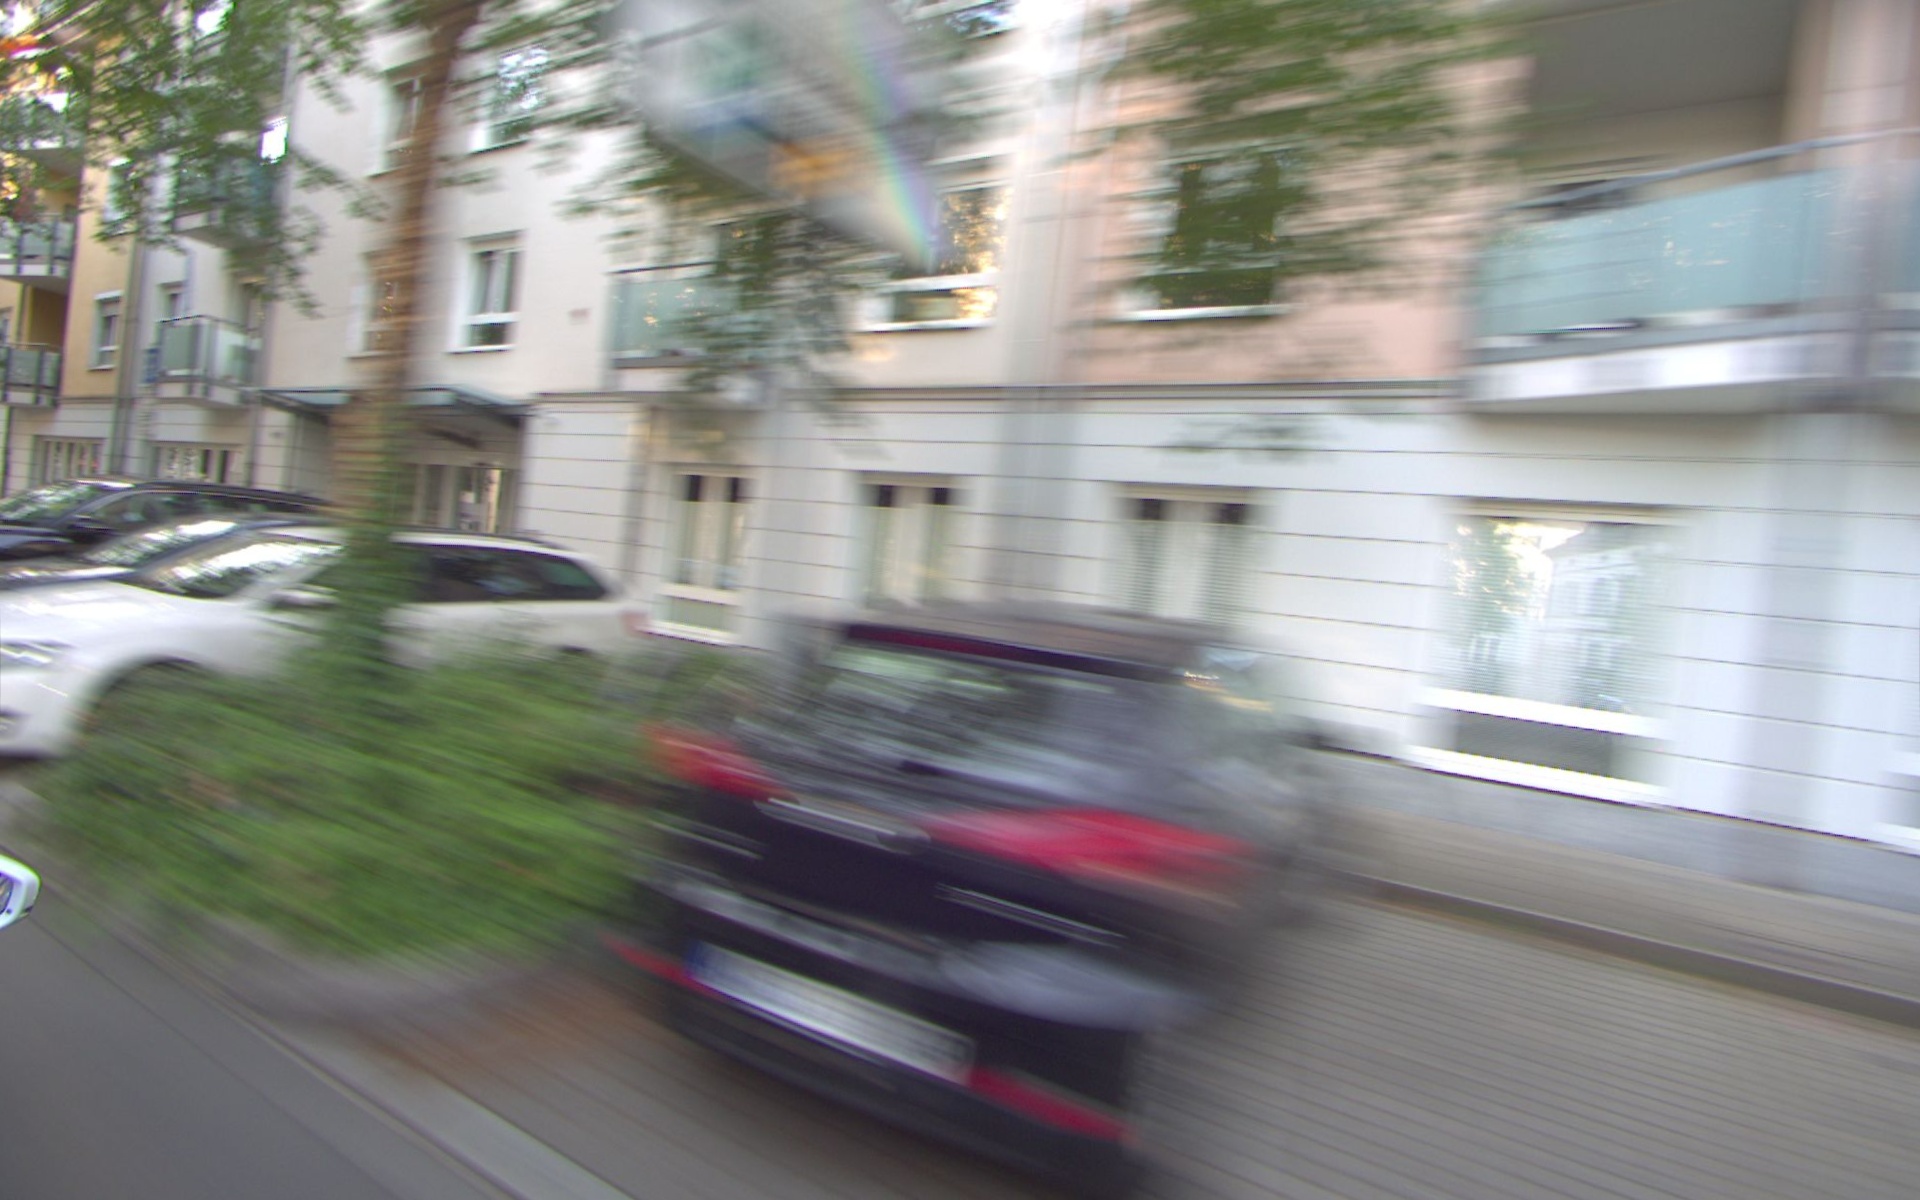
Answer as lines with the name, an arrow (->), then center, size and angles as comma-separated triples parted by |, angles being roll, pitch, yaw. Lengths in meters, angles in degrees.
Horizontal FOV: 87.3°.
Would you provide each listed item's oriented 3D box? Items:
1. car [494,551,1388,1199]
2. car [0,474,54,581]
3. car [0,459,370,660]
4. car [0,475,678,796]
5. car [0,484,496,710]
car -> 0.487, 0.720, 4.142 | 1.880, 1.495, 3.989 | 7, 3, 28
car -> -15.598, -1.164, 14.317 | 1.751, 1.569, 3.665 | 5, 2, 30
car -> -8.638, -0.422, 10.066 | 1.861, 1.726, 4.390 | 6, 2, 24
car -> -4.379, 0.147, 7.093 | 1.743, 1.573, 4.573 | 7, 2, 31
car -> -6.393, -0.051, 8.673 | 1.699, 1.546, 3.985 | 7, 2, 33
